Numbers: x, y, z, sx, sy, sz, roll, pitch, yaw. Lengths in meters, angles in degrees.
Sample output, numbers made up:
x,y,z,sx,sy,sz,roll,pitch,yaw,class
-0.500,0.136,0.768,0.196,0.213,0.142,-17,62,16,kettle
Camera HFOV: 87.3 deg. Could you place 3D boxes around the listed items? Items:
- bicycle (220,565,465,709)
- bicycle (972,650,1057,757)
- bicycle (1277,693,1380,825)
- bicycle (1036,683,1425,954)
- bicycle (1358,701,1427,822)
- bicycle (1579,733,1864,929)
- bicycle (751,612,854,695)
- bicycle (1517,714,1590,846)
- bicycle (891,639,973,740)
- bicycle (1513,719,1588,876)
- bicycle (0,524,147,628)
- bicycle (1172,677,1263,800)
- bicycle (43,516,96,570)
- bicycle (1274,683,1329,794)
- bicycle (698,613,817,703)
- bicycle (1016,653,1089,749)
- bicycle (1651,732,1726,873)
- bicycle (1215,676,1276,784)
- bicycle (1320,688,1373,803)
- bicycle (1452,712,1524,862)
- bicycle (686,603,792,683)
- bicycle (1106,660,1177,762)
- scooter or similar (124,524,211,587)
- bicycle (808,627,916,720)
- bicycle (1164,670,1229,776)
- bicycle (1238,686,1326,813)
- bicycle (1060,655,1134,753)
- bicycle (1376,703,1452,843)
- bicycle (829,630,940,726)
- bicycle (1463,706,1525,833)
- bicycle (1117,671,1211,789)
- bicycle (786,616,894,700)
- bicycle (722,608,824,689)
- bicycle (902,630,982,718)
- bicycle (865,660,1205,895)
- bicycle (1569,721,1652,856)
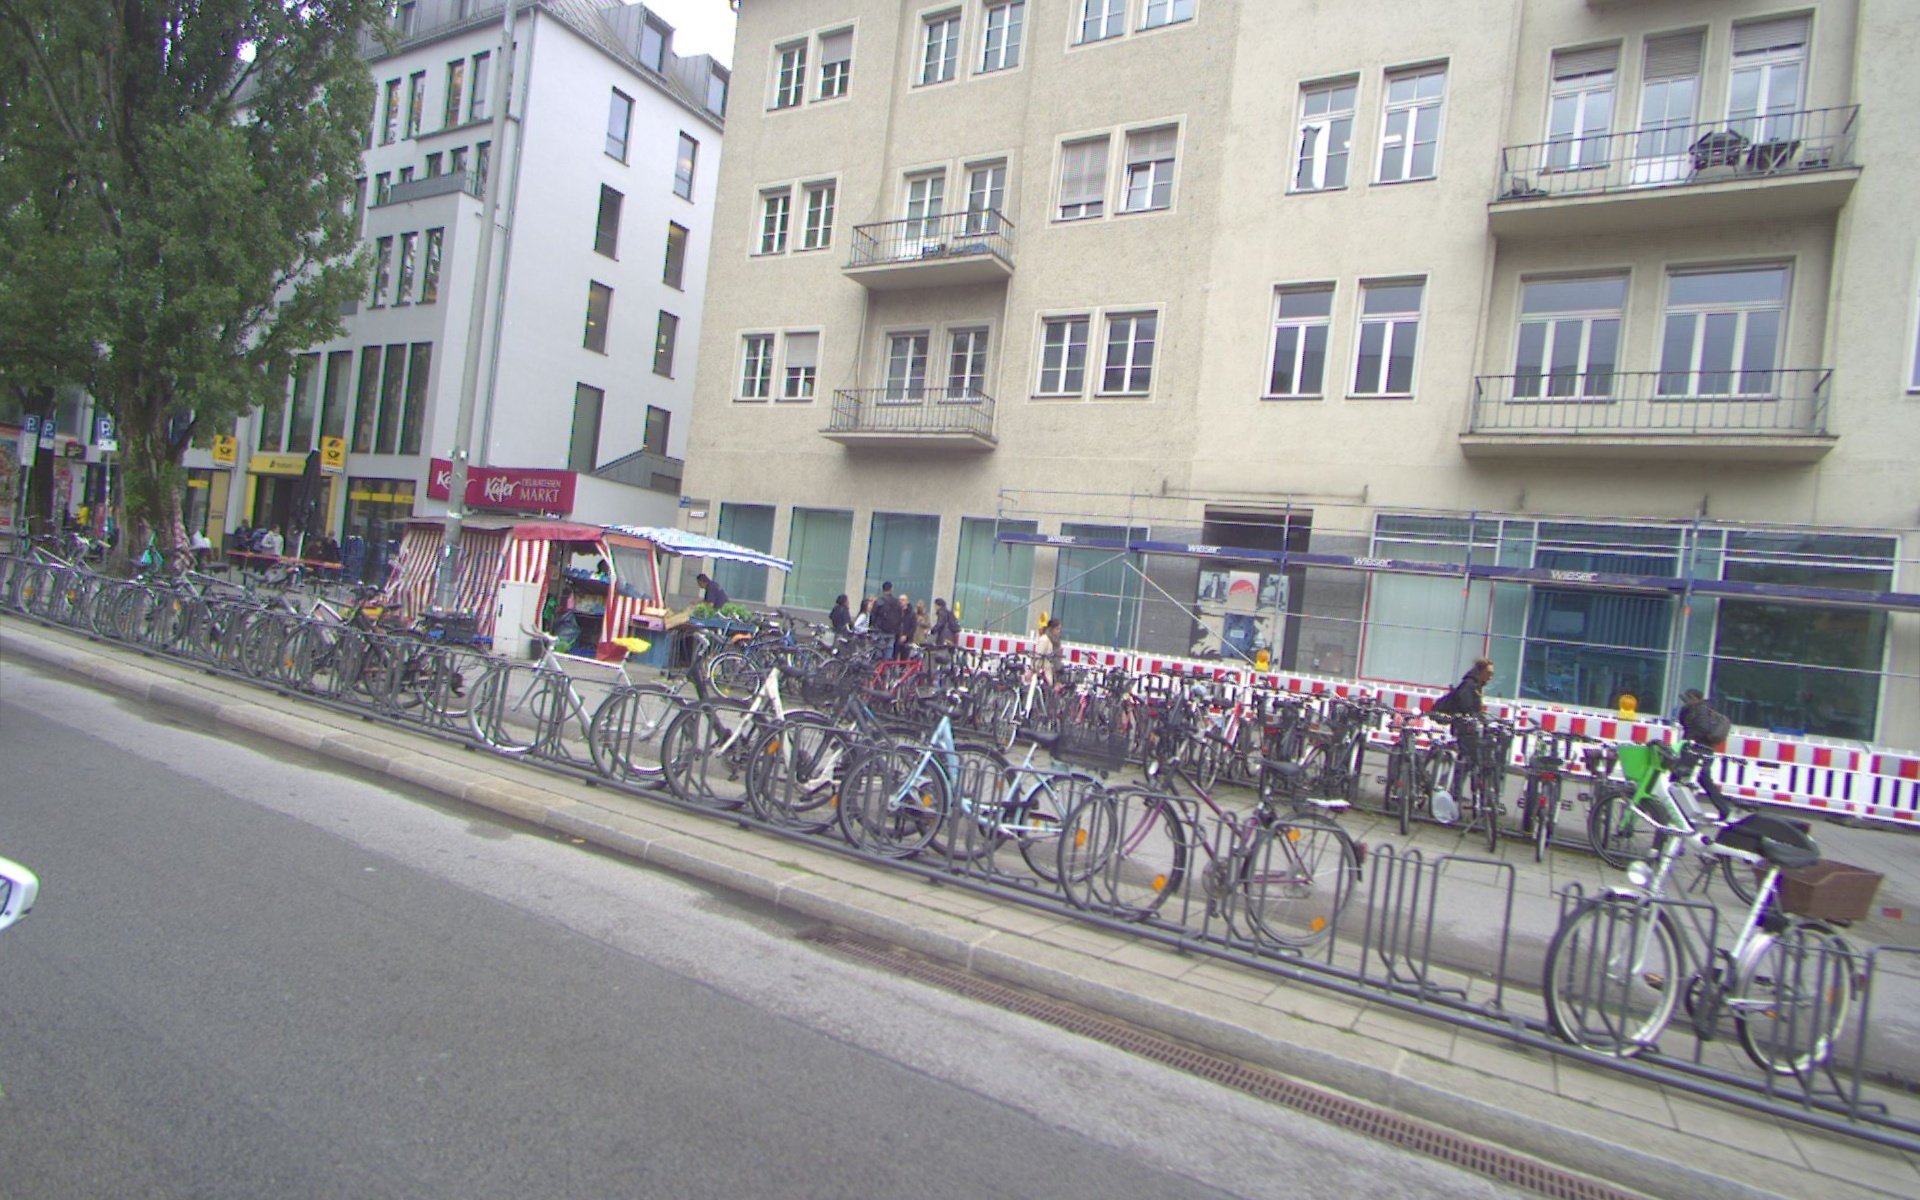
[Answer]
x,y,z,sx,sy,sz,roll,pitch,yaw,class
-5.718,0.358,9.398,1.776,1.021,0.385,11,-2,-16,bicycle
0.642,1.126,11.349,0.403,1.091,1.452,6,0,22,bicycle
3.529,1.462,9.564,0.404,1.091,1.634,7,1,35,bicycle
1.385,1.115,5.124,1.825,1.070,0.396,11,-2,-14,bicycle
4.578,1.655,10.598,0.403,1.091,1.528,6,0,30,bicycle
5.816,1.724,7.829,0.404,1.091,1.754,5,0,-18,bicycle
-2.270,0.785,14.686,0.403,1.117,1.629,7,1,33,bicycle
5.901,1.749,10.045,0.403,1.091,1.451,6,0,26,bicycle
-0.309,1.036,12.047,0.402,1.091,1.453,6,0,19,bicycle
5.033,1.627,8.604,0.403,1.091,1.653,6,0,30,bicycle
-11.604,-0.305,12.935,1.556,1.065,0.544,11,-2,-21,bicycle
2.638,1.360,10.193,0.403,1.091,1.526,6,0,30,bicycle
-22.187,-1.435,25.060,1.606,1.174,0.478,7,0,32,bicycle
3.901,1.532,11.440,0.403,1.091,1.452,6,0,22,bicycle
-2.656,0.779,13.282,1.464,1.091,0.405,6,1,-44,bicycle
1.193,1.243,12.711,0.403,1.091,1.452,6,0,22,bicycle
6.860,1.861,9.517,0.403,1.091,1.647,7,0,34,bicycle
3.324,1.468,11.646,0.403,1.091,1.452,6,0,22,bicycle
4.312,1.573,11.183,0.403,1.091,1.452,6,0,22,bicycle
4.678,1.593,8.875,0.403,1.091,1.603,6,0,30,bicycle
-3.333,0.676,15.282,0.404,1.117,1.628,7,1,36,bicycle
2.200,1.293,12.075,0.403,1.091,1.535,6,0,23,bicycle
-17.188,-0.951,21.848,0.393,1.222,1.470,6,0,14,scooter or similar
-1.228,0.938,12.839,0.404,1.091,1.478,7,1,36,bicycle
2.802,1.410,11.840,0.403,1.091,1.452,6,0,22,bicycle
3.253,1.448,10.071,0.403,1.091,1.659,6,0,30,bicycle
1.712,1.245,12.401,0.403,1.091,1.535,6,0,23,bicycle
4.262,1.563,9.391,0.403,1.091,1.623,6,0,30,bicycle
-0.909,0.962,12.463,0.404,1.091,1.446,7,1,39,bicycle
5.445,1.691,10.299,0.403,1.091,1.451,6,0,26,bicycle
2.155,1.312,10.511,0.403,1.091,1.537,6,0,30,bicycle
-1.702,0.850,14.516,0.404,1.117,1.626,7,1,40,bicycle
-2.785,0.739,15.134,0.403,1.117,1.629,7,1,33,bicycle
-0.219,0.997,13.886,0.402,1.117,1.633,6,0,22,bicycle
0.447,1.045,5.914,1.825,1.070,0.396,11,-2,-14,bicycle
6.330,1.795,9.834,0.403,1.091,1.451,6,0,26,bicycle
